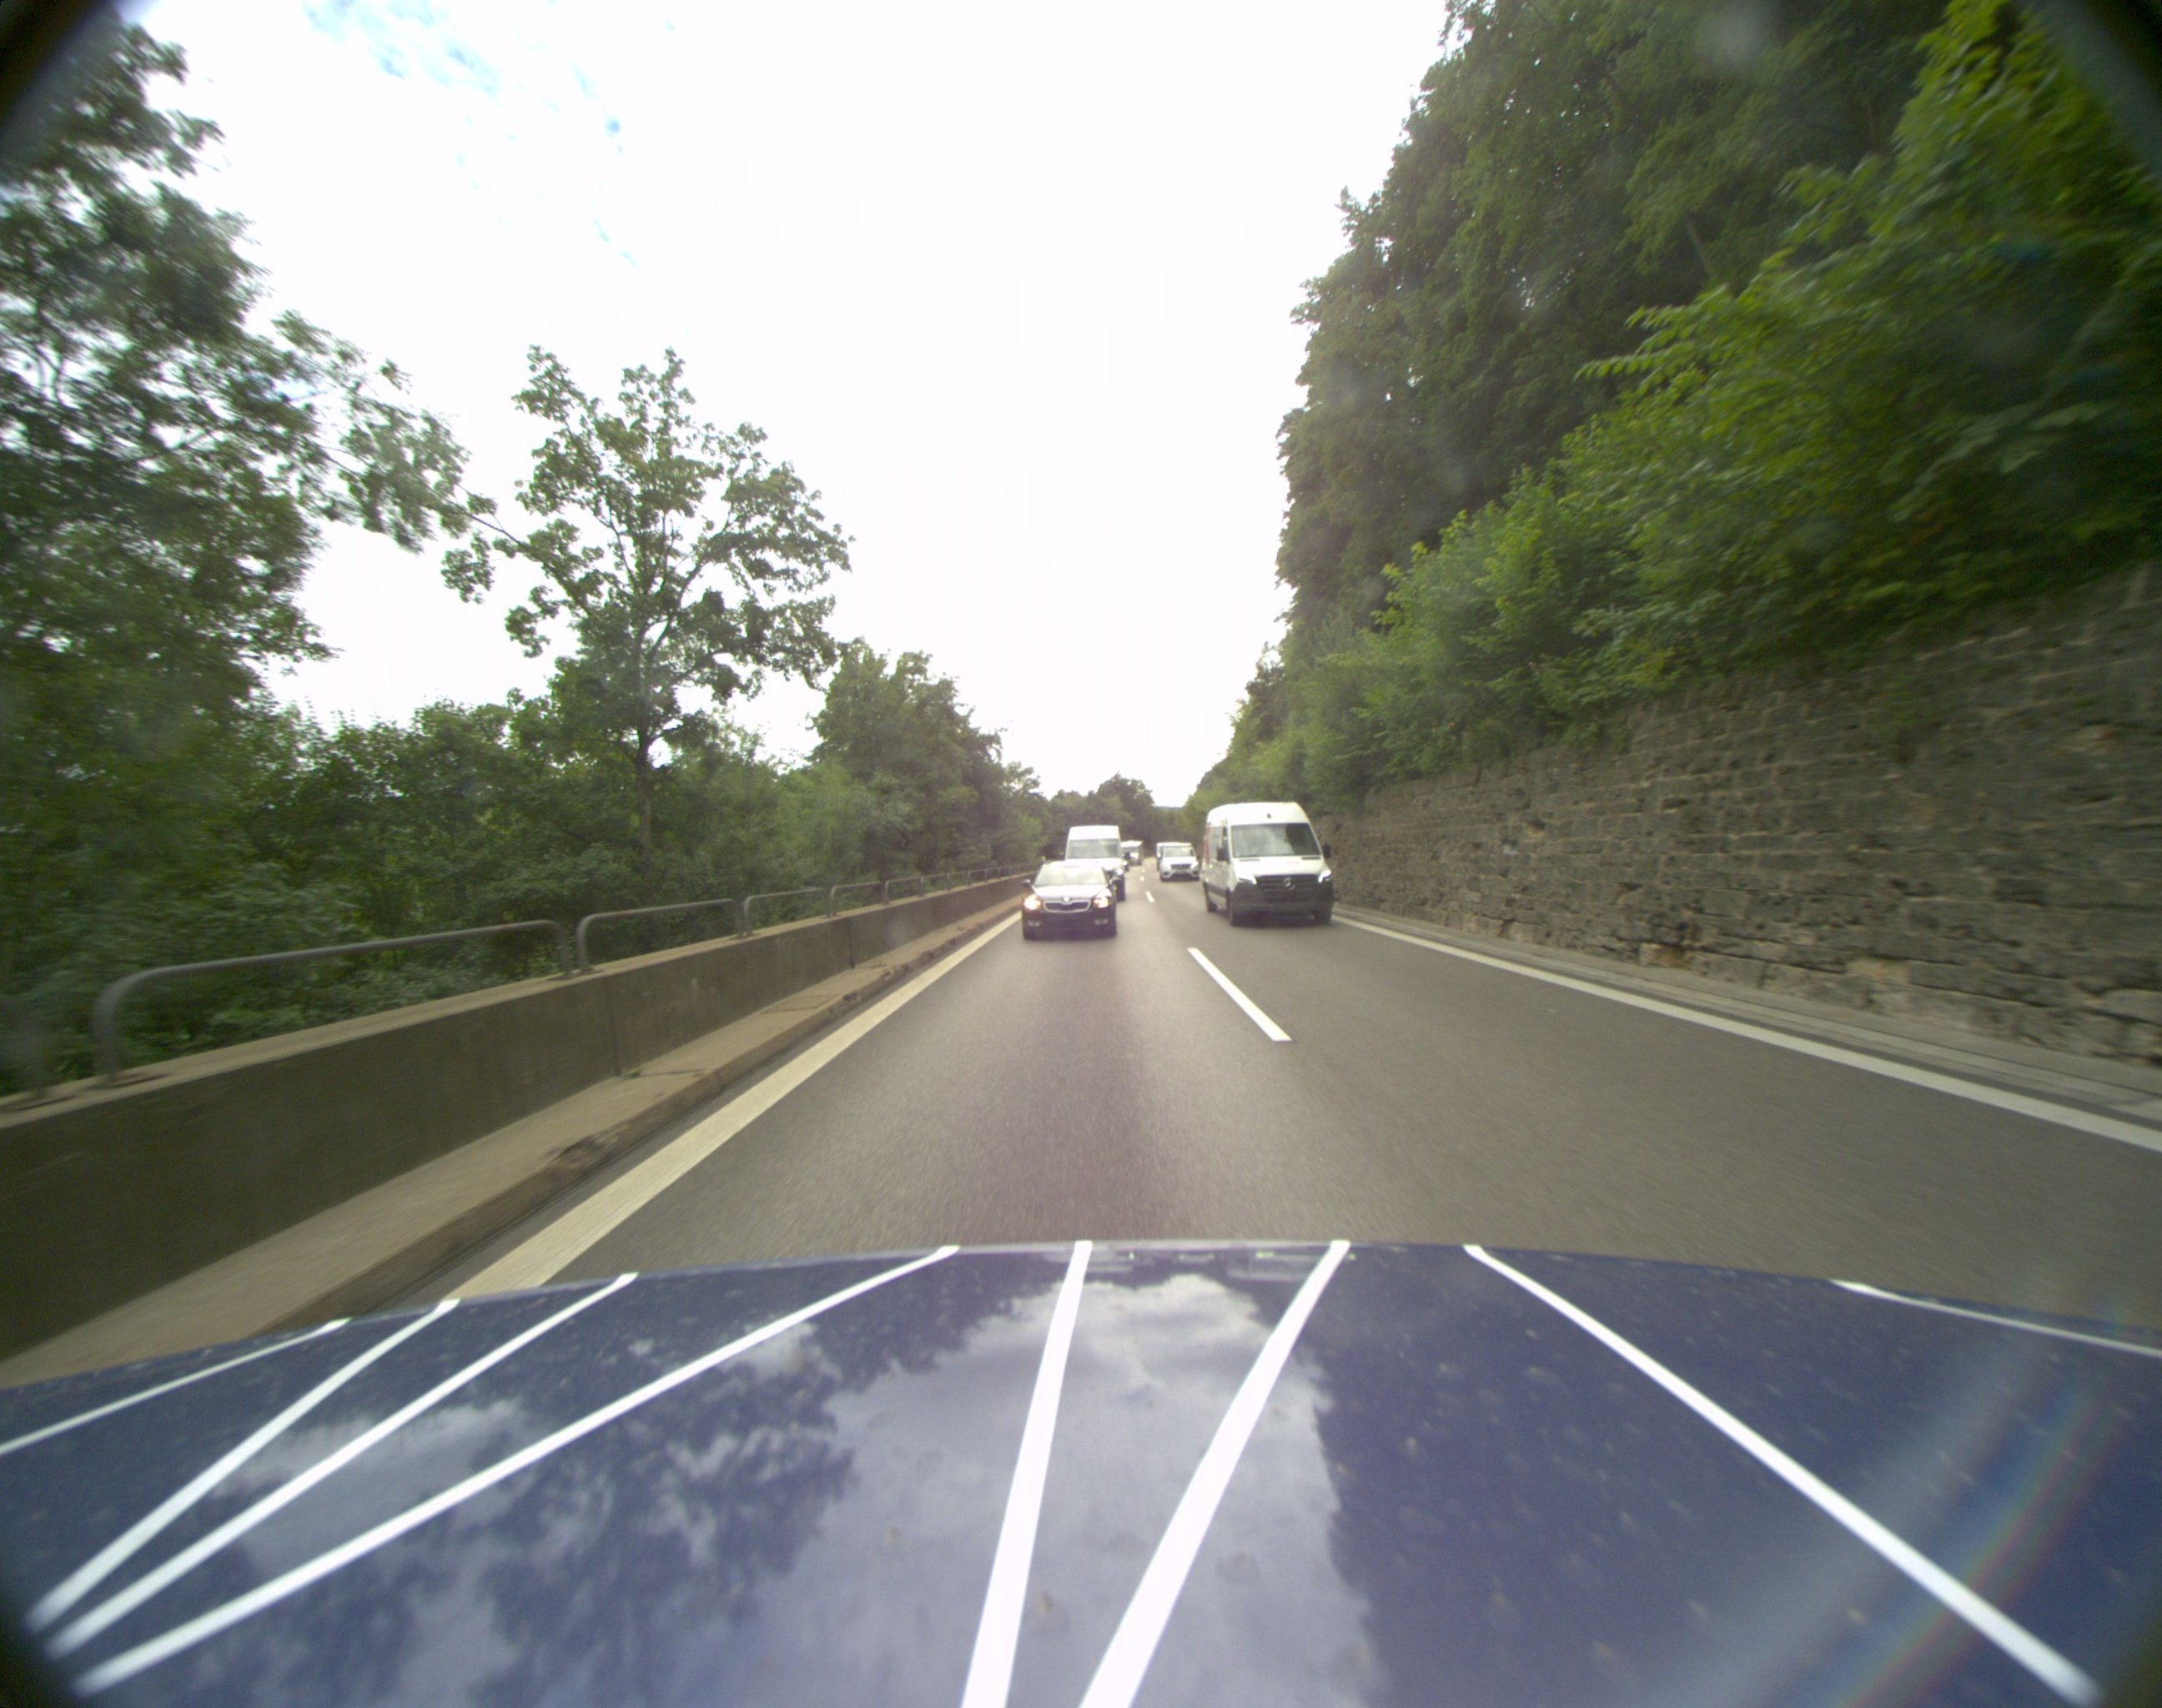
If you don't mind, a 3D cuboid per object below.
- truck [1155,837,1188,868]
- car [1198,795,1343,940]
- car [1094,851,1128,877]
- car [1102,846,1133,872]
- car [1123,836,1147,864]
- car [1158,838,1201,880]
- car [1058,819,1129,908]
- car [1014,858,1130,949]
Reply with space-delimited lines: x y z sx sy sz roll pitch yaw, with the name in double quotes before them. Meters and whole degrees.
"truck" 7.511 -0.196 62.452 1.997 2.266 6.590 -4 0 11
"car" 3.943 0.198 17.014 2.030 2.570 6.275 -2 1 4
"car" 1.829 0.583 45.576 1.846 1.408 4.001 -3 0 4
"car" 2.991 0.337 61.346 1.997 1.871 4.001 -3 1 9
"car" 6.060 -0.486 84.337 2.276 2.941 7.188 -2 1 6
"car" 5.216 0.219 40.923 1.998 1.941 6.149 -4 0 6
"car" 0.534 0.245 25.454 1.998 2.550 5.918 -2 1 3
"car" -0.219 0.883 16.098 1.913 1.391 5.695 -4 0 -1
